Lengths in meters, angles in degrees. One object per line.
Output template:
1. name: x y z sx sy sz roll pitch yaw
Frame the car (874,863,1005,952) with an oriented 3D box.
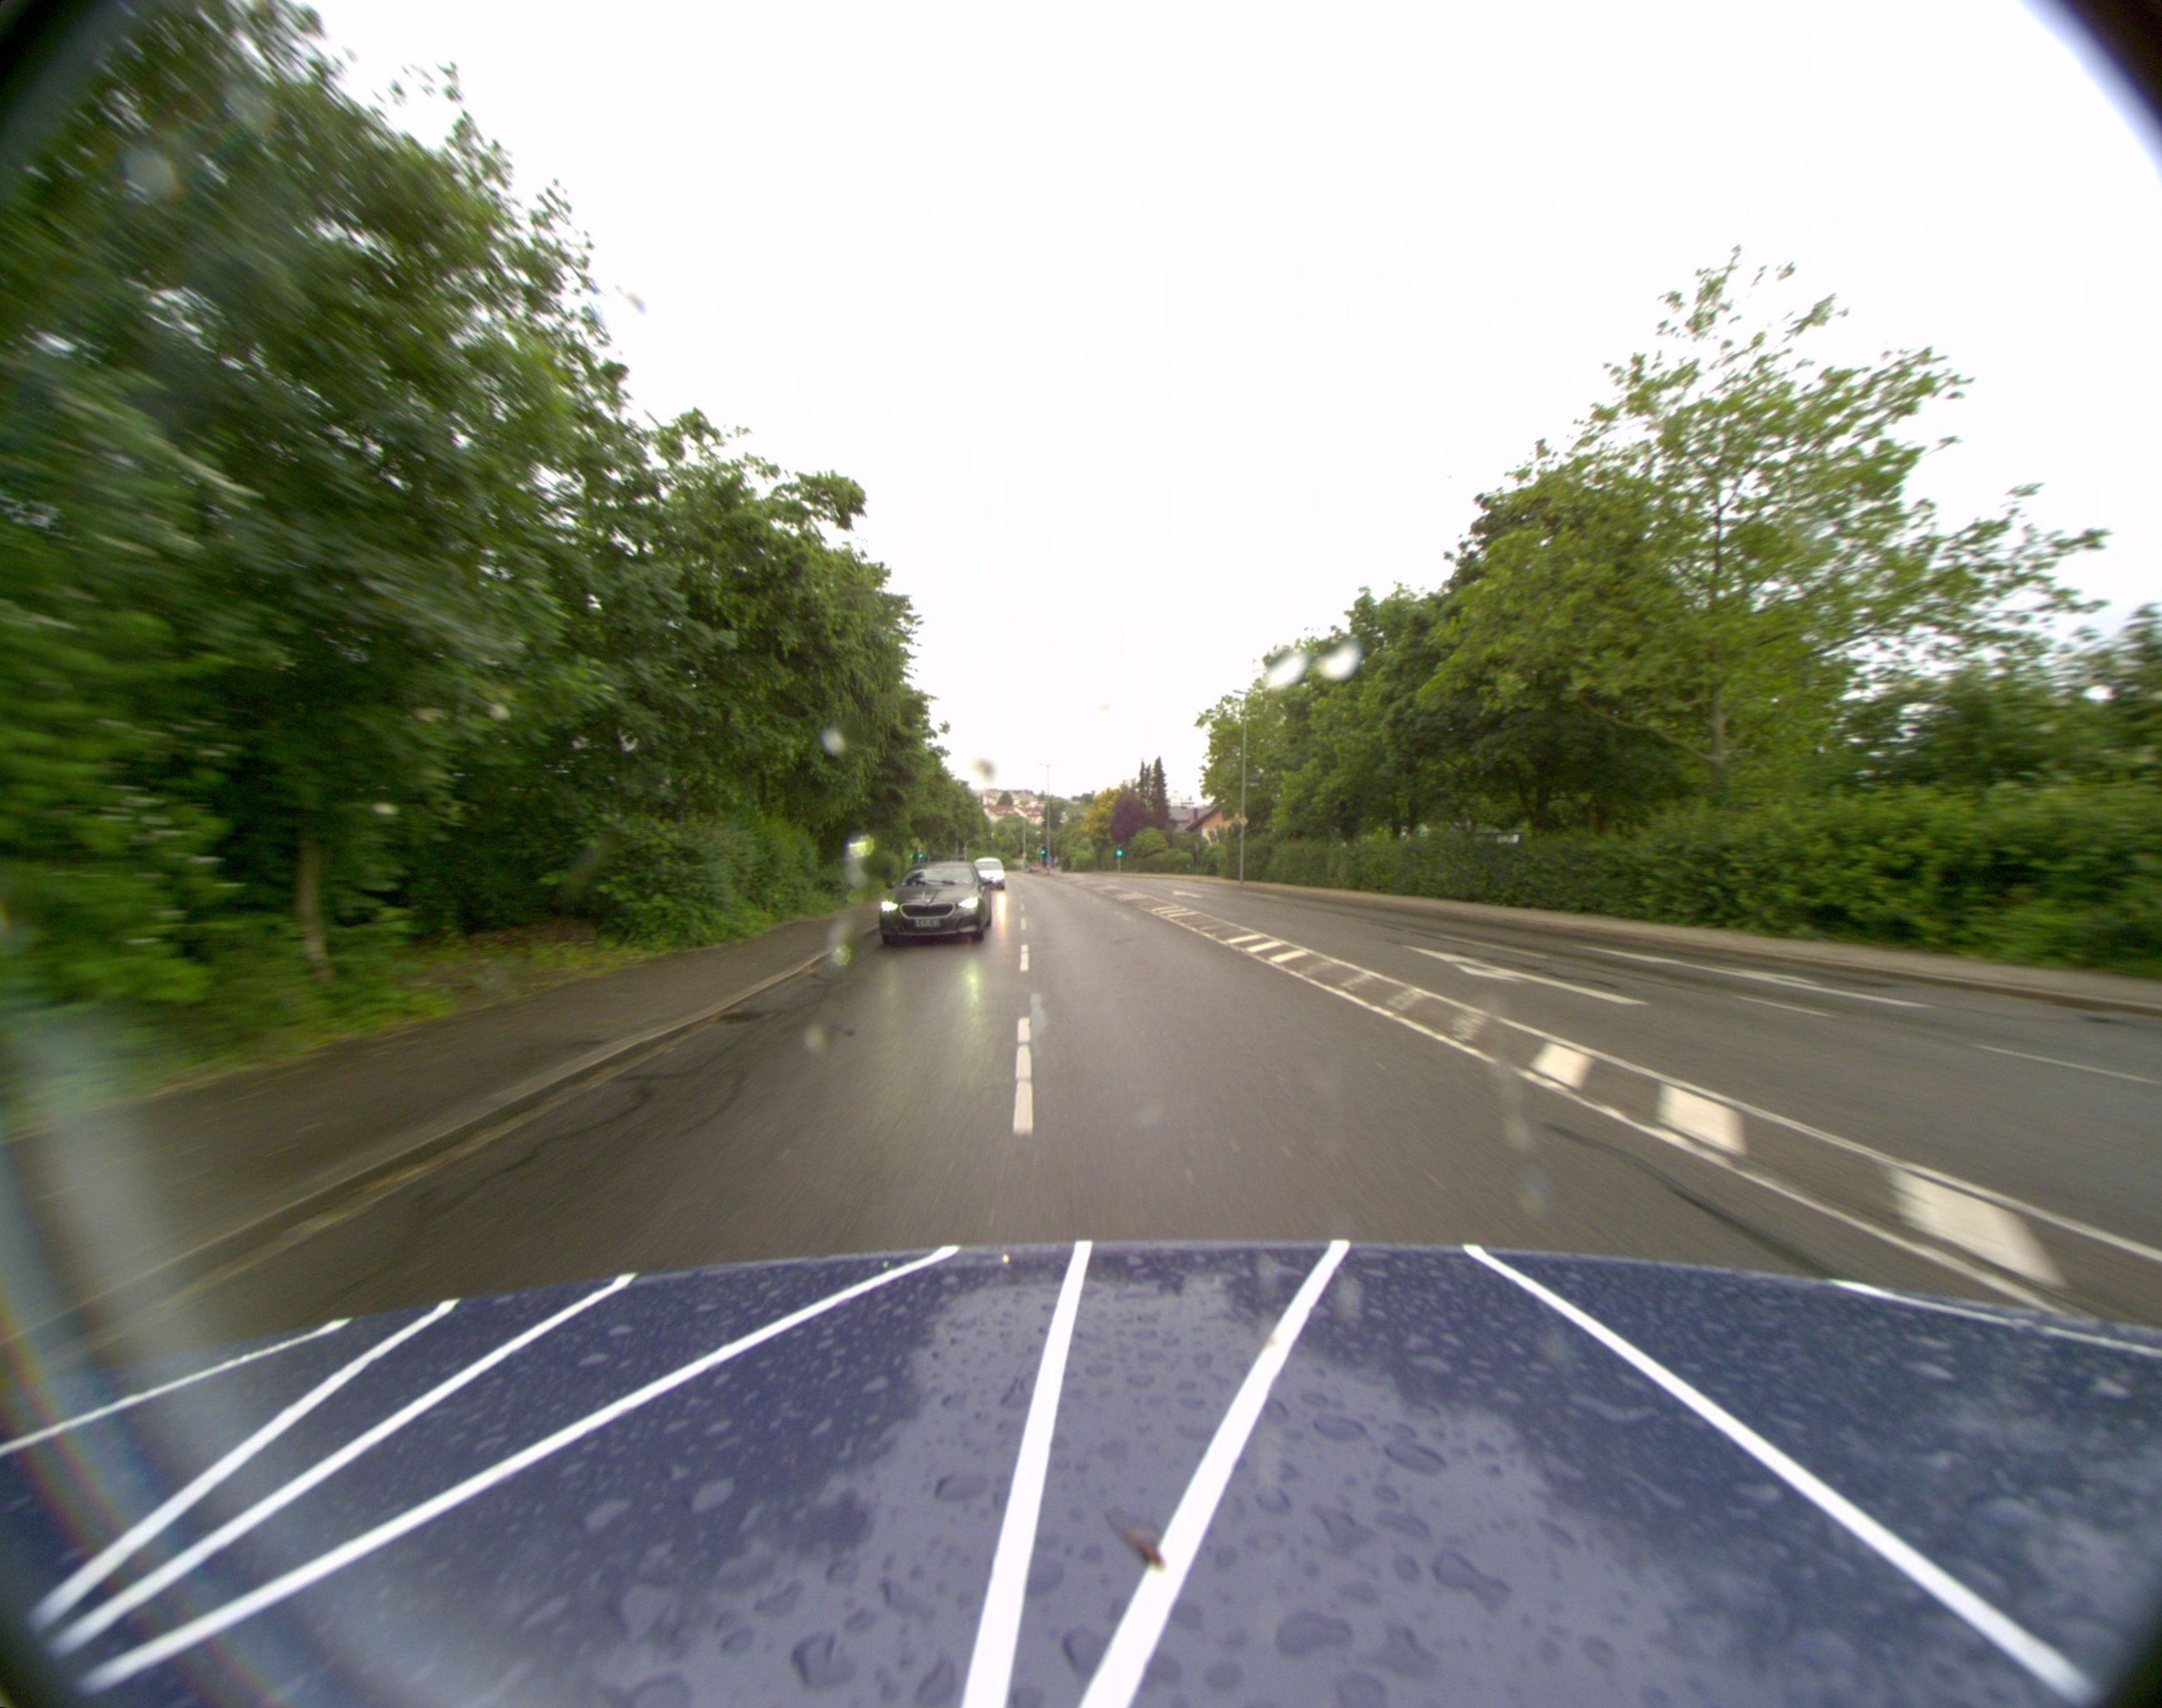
1. car: -2.718 0.975 15.569 1.845 1.371 4.282 -3 1 -1

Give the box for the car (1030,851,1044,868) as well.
1. car: -5.047 0.616 87.275 1.551 1.812 4.281 0 0 -4

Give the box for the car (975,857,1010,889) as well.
1. car: -4.465 0.924 38.662 1.551 1.505 4.281 0 0 -4

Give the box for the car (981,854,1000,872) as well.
1. car: -8.971 0.859 75.421 1.704 1.670 4.281 0 0 -5
